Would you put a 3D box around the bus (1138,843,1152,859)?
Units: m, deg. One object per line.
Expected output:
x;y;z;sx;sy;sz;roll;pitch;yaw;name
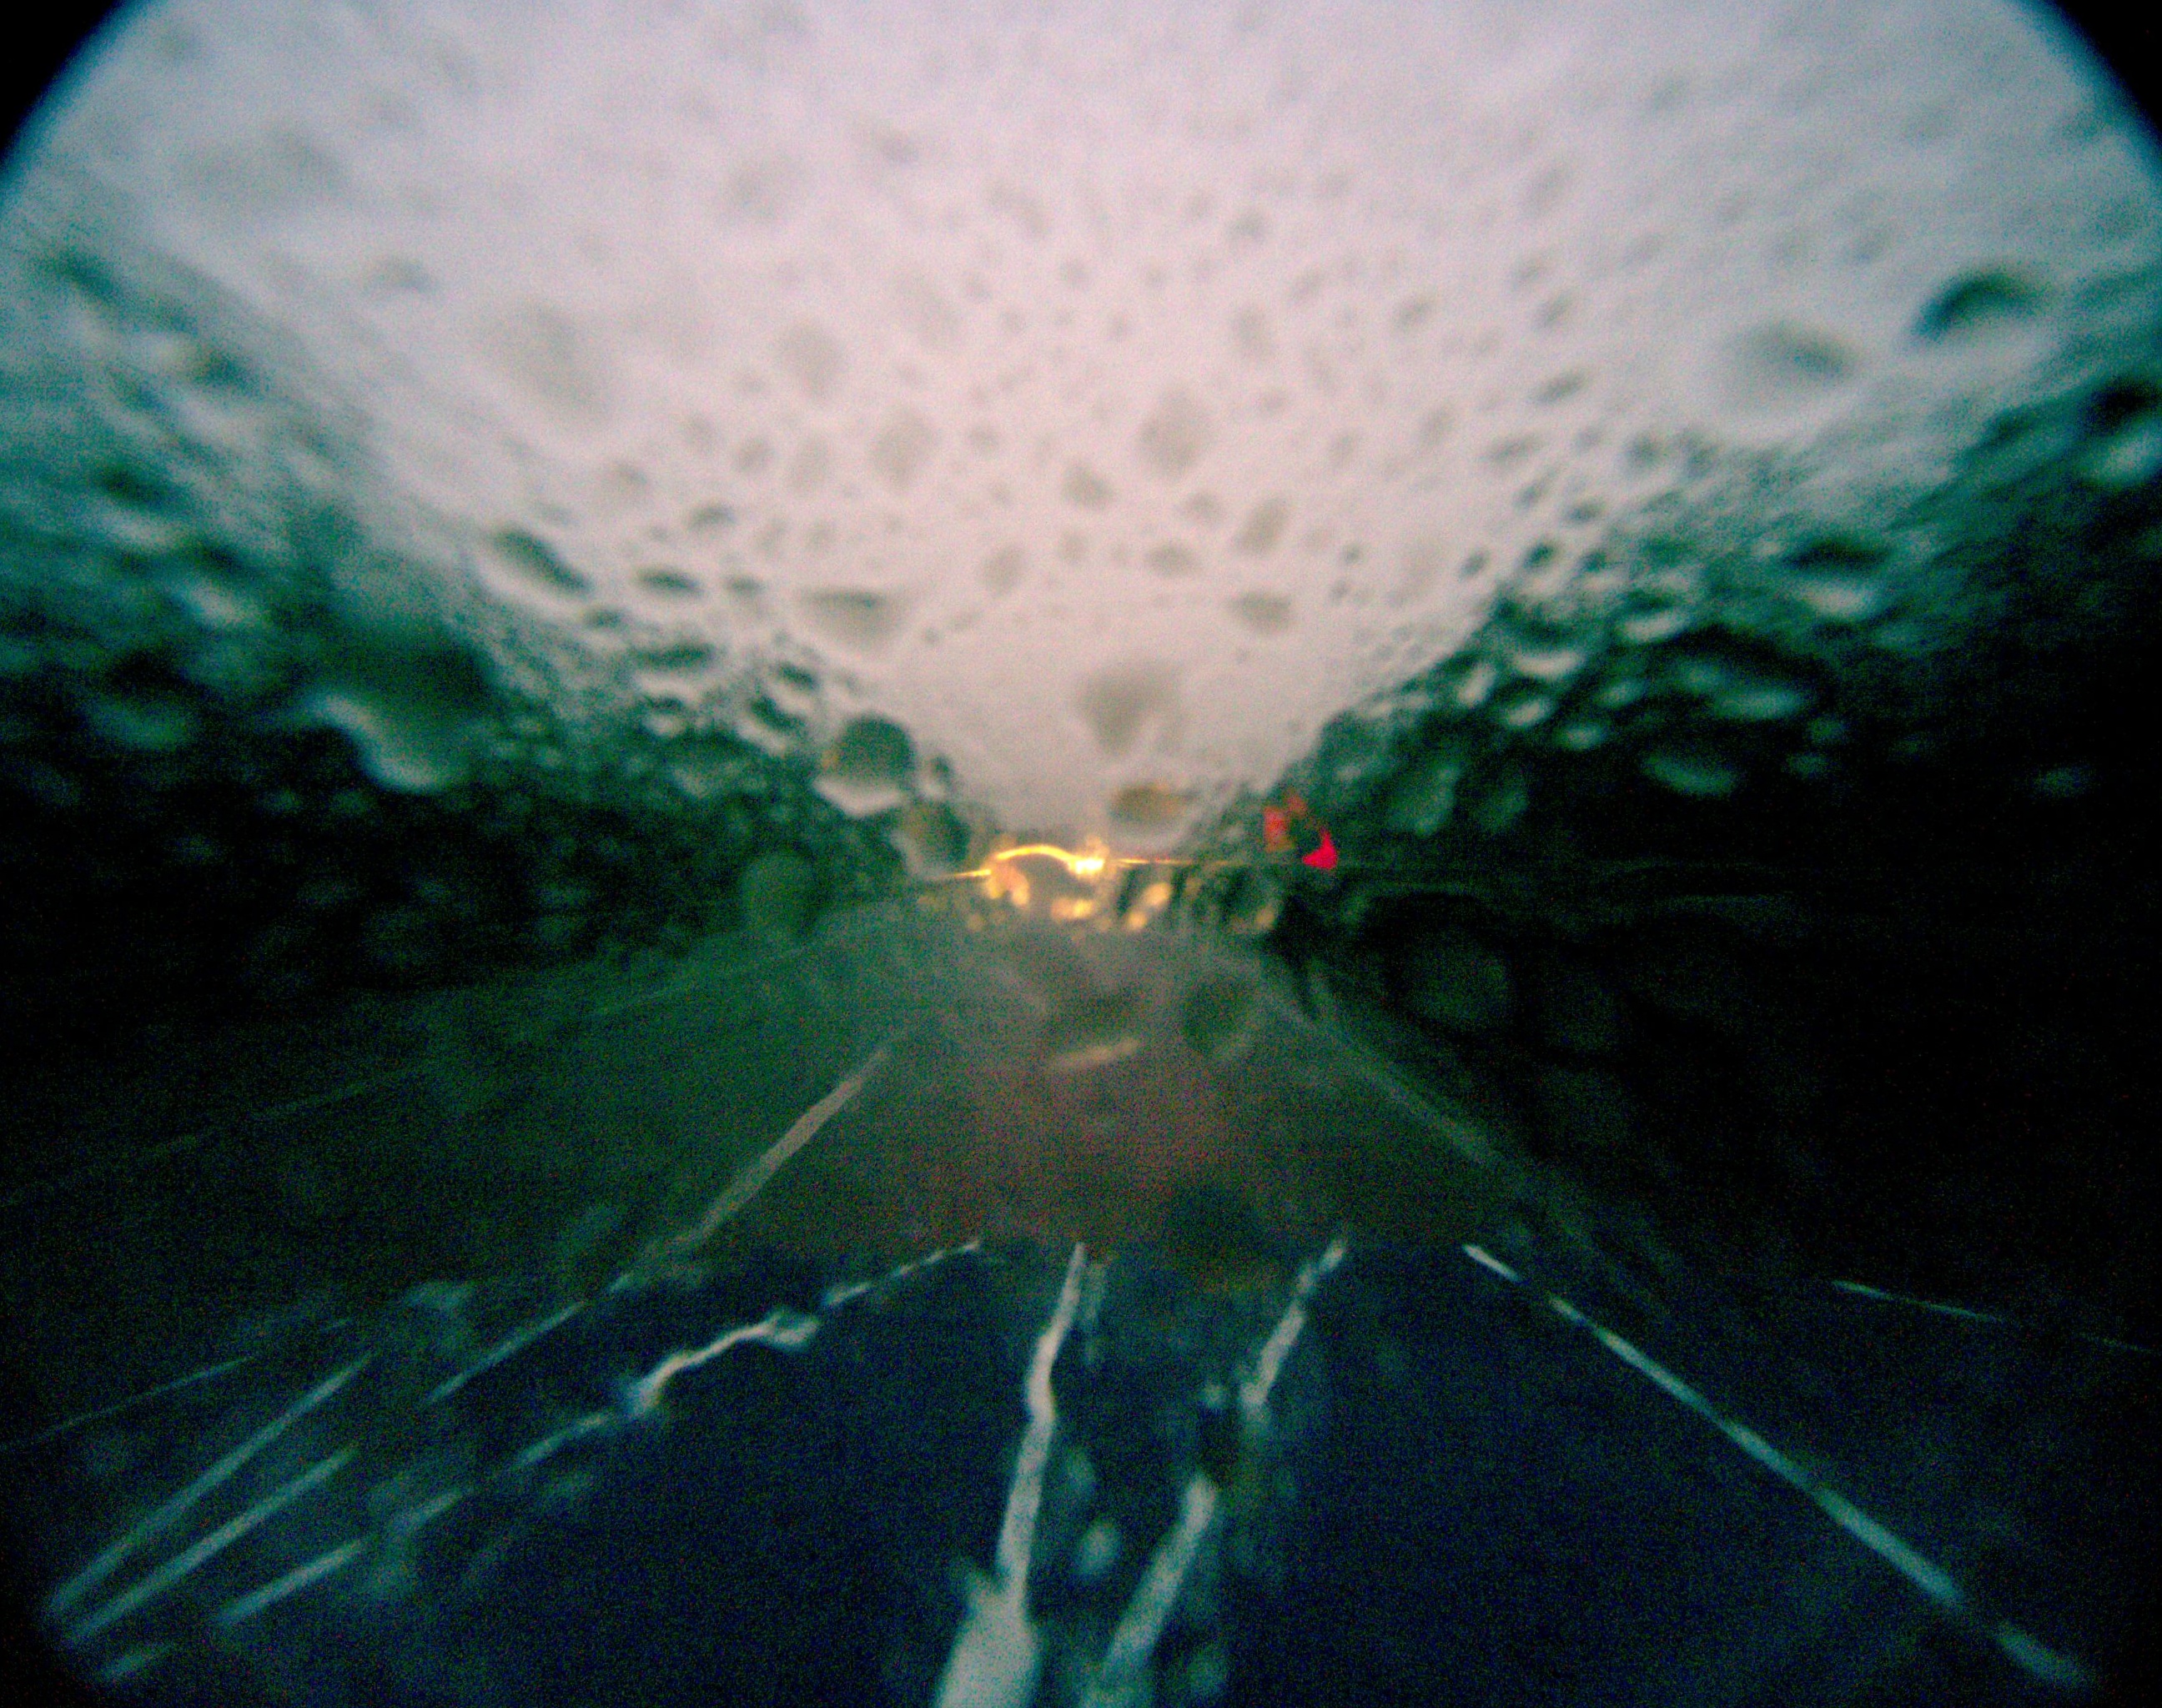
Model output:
15.284;-0.675;182.369;2.745;3.534;9.155;-2;0;1;bus

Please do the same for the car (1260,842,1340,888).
8.143;0.370;28.609;1.813;1.558;4.000;-2;0;0;car

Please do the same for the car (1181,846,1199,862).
13.415;0.028;93.480;1.635;1.855;3.897;-2;0;0;car

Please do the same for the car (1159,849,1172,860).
13.804;0.062;124.371;1.859;1.789;4.000;-2;0;2;car
